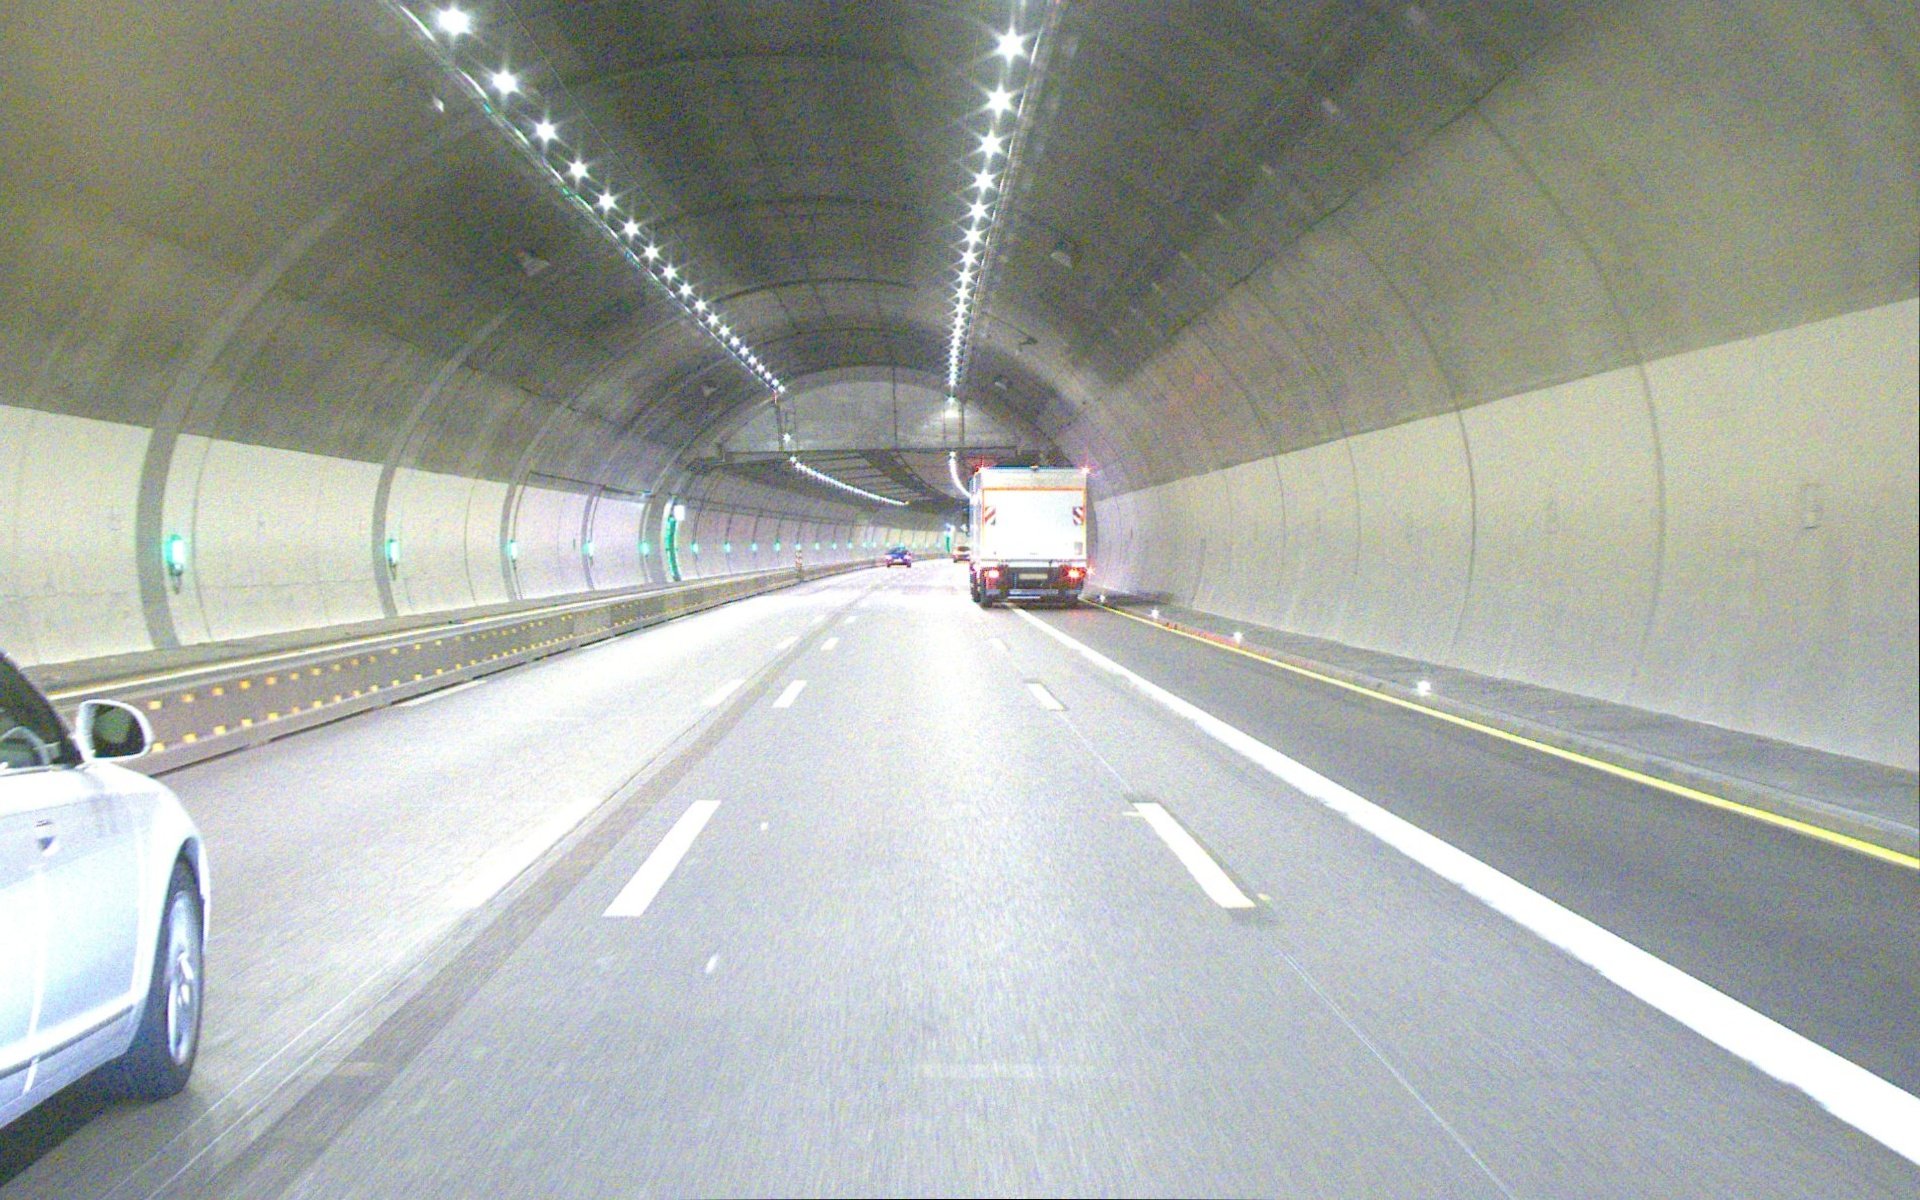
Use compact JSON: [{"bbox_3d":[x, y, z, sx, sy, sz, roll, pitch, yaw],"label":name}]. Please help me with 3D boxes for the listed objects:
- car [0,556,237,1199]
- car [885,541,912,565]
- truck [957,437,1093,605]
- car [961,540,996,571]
[{"bbox_3d":[-2.995,0.641,7.501,1.903,1.479,4.944,0,1,-1],"label":"car"},{"bbox_3d":[-4.072,-3.135,228.186,1.758,1.456,4.119,-2,2,0],"label":"car"},{"bbox_3d":[1.537,-1.905,86.531,3.092,3.904,10.368,-1,0,0],"label":"truck"},{"bbox_3d":[0.956,-2.283,176.260,1.739,1.456,3.960,-2,2,1],"label":"car"}]
